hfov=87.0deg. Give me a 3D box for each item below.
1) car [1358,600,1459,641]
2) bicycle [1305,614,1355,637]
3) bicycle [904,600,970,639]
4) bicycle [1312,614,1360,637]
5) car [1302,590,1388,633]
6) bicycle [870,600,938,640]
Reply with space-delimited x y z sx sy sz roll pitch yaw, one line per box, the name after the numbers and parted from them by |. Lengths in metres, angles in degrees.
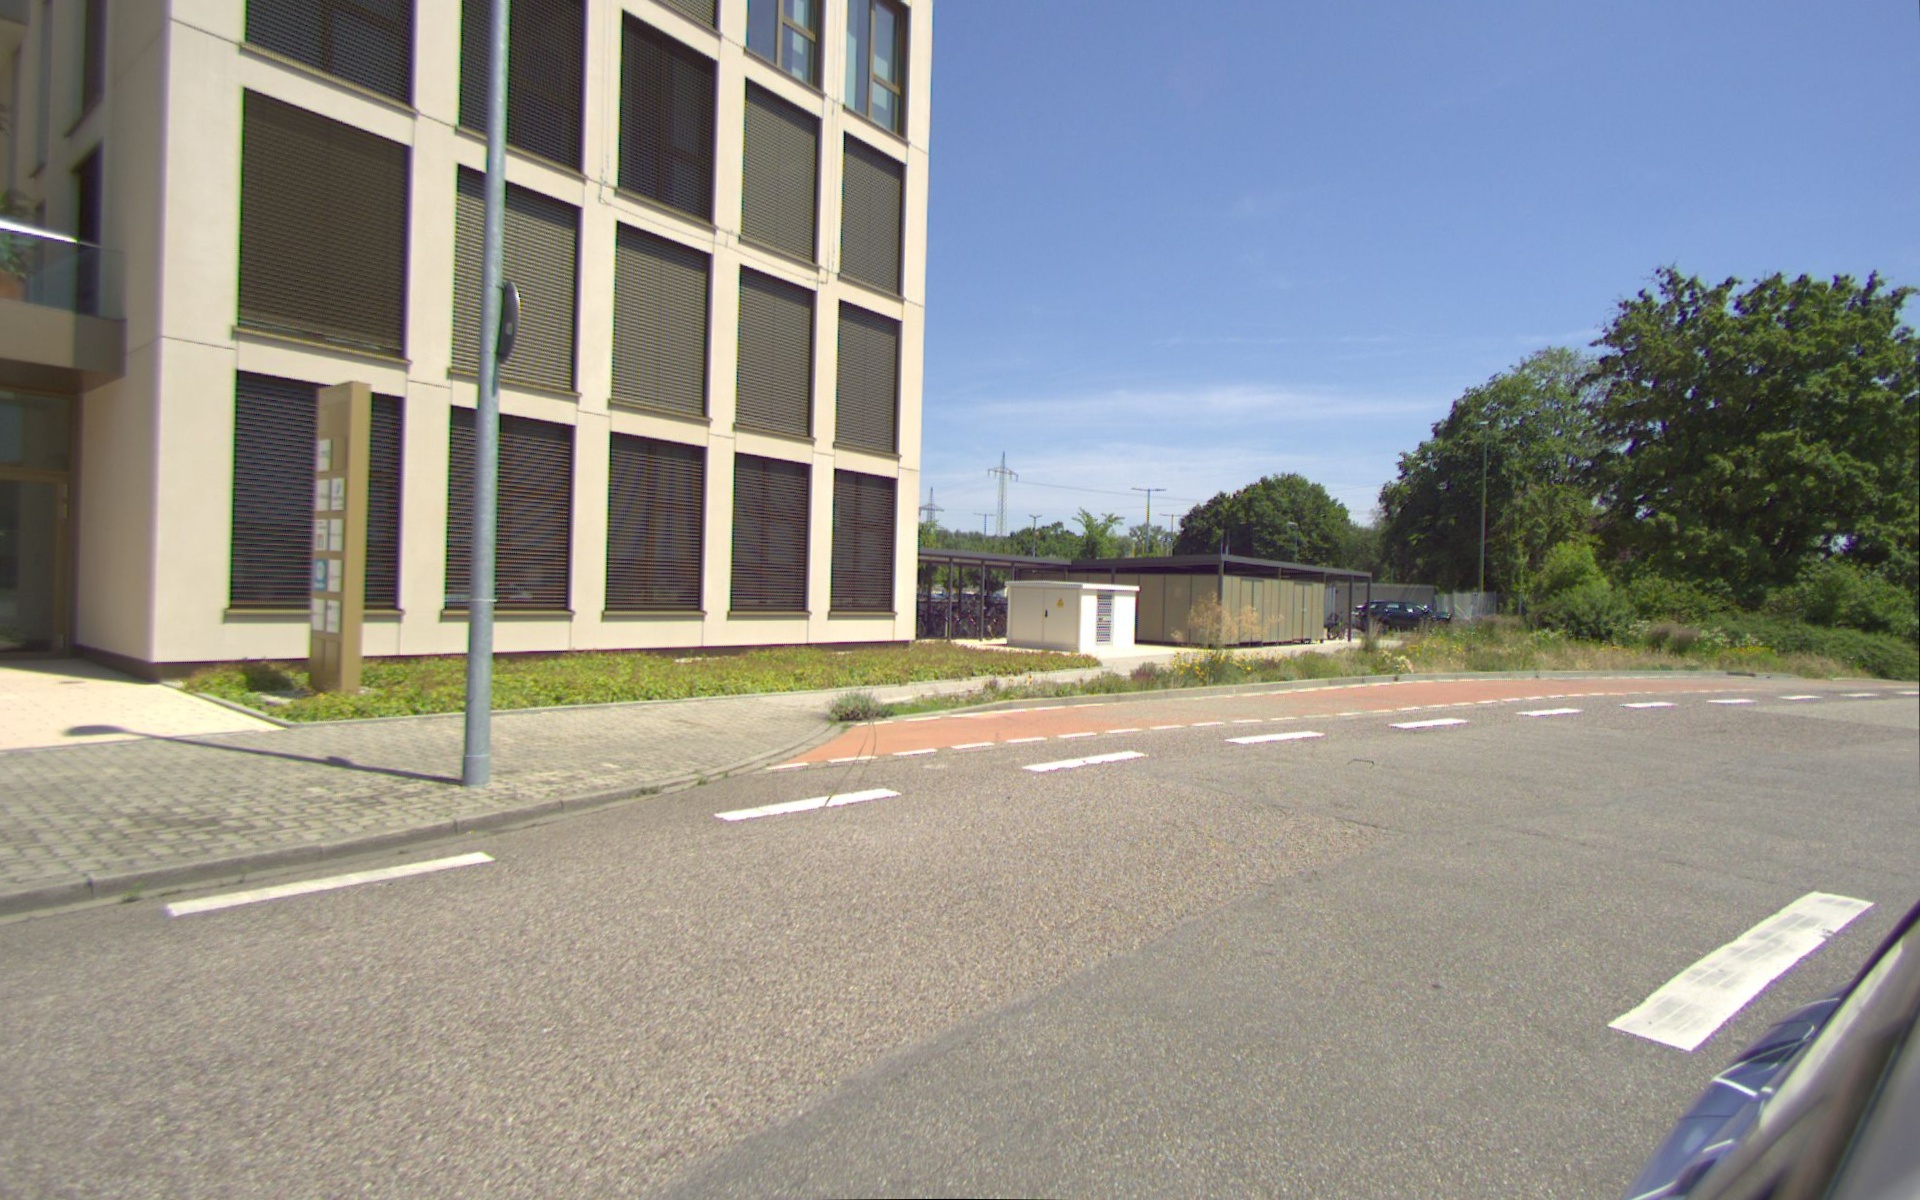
20.785 0.920 47.045 3.942 1.682 1.830 3 1 15 | car
15.583 1.072 42.688 1.874 0.874 0.582 3 1 37 | bicycle
-0.677 0.562 29.871 1.826 1.014 0.727 3 1 32 | bicycle
16.099 1.081 43.355 1.854 0.874 0.576 3 1 37 | bicycle
20.384 0.595 53.807 3.940 2.039 1.992 3 0 13 | car
-1.615 0.555 28.975 1.826 1.014 0.727 3 1 32 | bicycle
